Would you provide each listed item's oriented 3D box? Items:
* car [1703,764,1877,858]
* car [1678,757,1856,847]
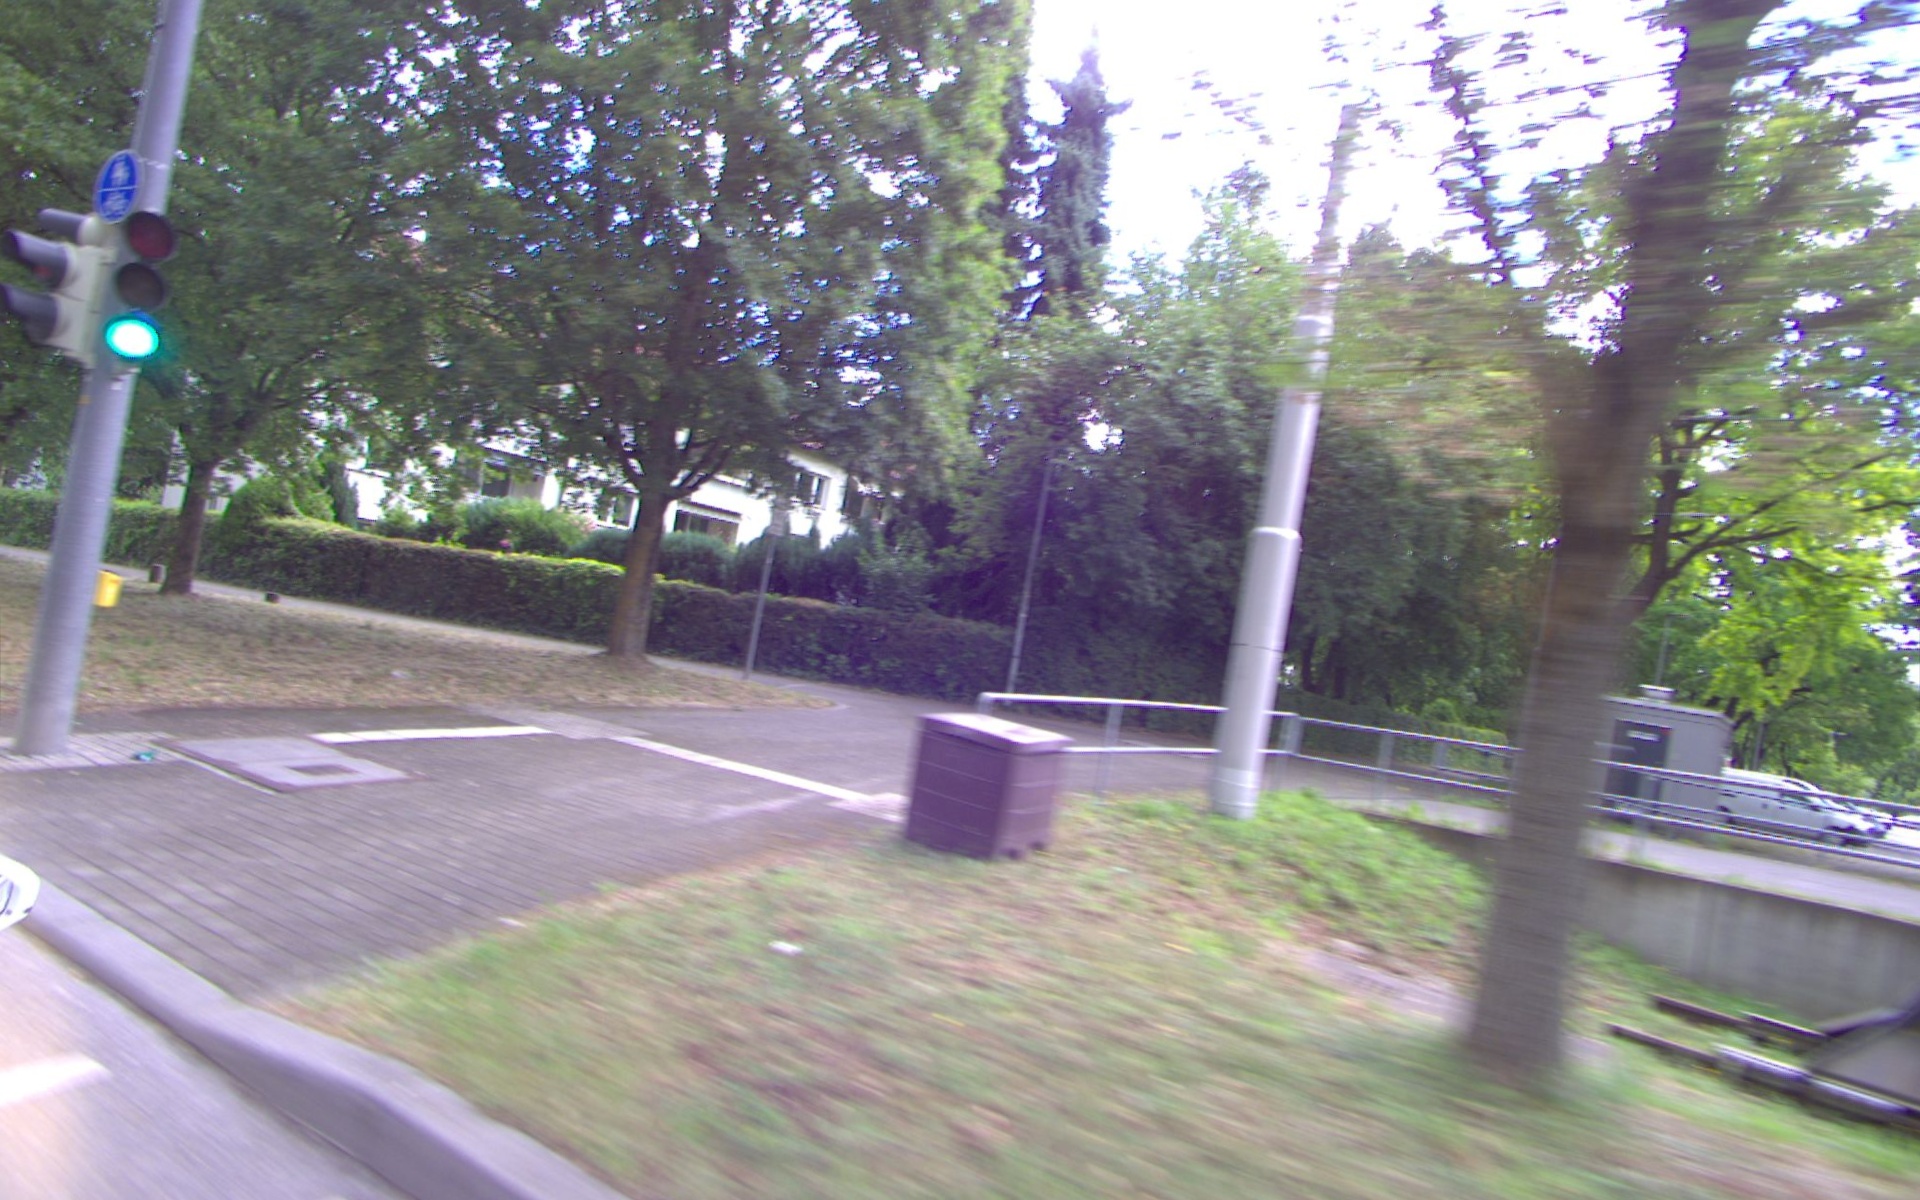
[{"bbox_3d":[26.167,6.568,31.796,3.949,2.037,1.895,6,-2,45],"label":"car"},{"bbox_3d":[27.333,6.773,34.178,4.395,2.037,1.895,6,-2,45],"label":"car"}]
